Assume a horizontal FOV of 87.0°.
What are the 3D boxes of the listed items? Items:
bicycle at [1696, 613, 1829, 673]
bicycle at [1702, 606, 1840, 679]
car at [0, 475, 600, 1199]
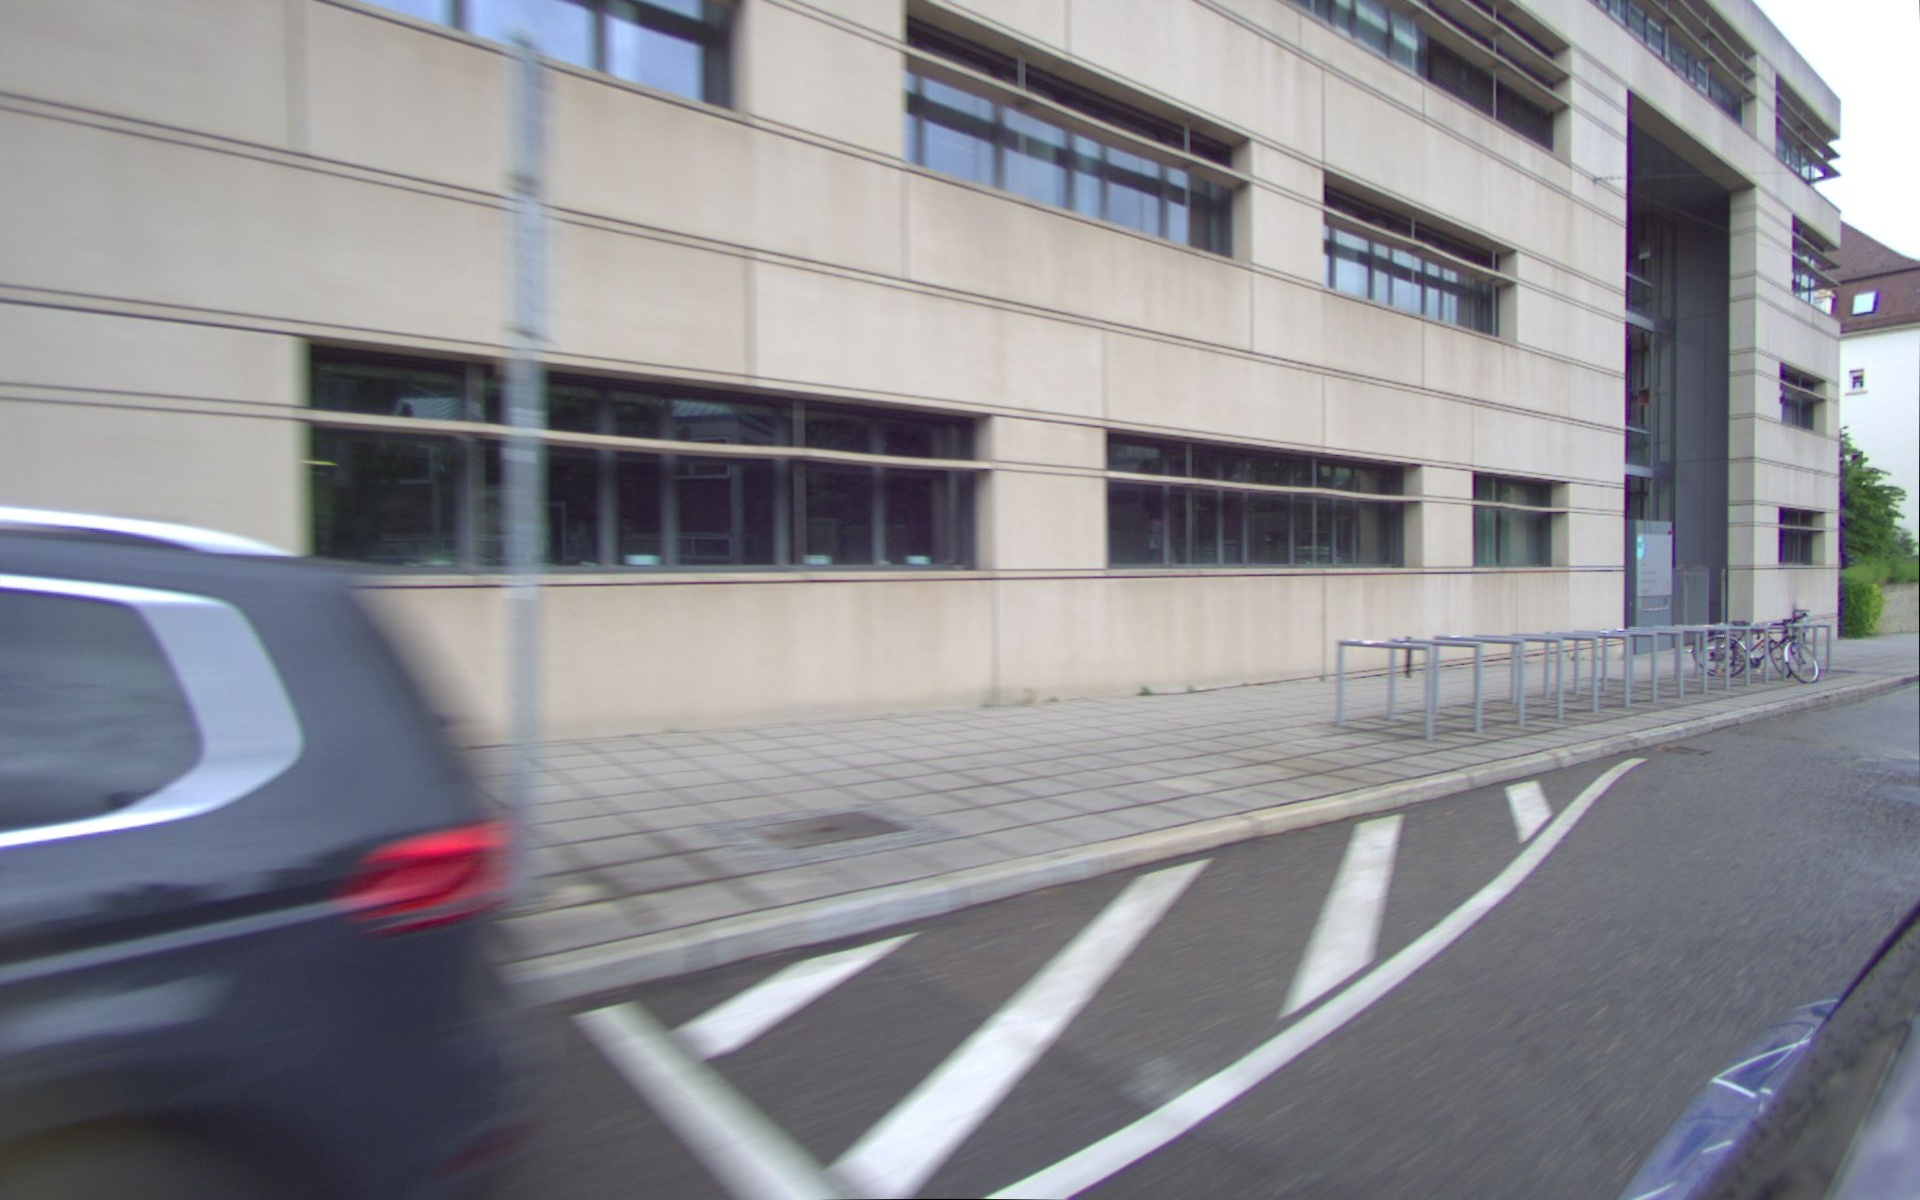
[{"bbox_3d":[14.125,0.740,17.852,0.648,0.965,1.762,0,0,-40],"label":"bicycle"},{"bbox_3d":[13.576,0.675,16.979,0.648,1.133,1.731,0,0,-42],"label":"bicycle"},{"bbox_3d":[-2.920,0.644,1.298,4.315,1.624,1.775,0,-1,-39],"label":"car"}]
